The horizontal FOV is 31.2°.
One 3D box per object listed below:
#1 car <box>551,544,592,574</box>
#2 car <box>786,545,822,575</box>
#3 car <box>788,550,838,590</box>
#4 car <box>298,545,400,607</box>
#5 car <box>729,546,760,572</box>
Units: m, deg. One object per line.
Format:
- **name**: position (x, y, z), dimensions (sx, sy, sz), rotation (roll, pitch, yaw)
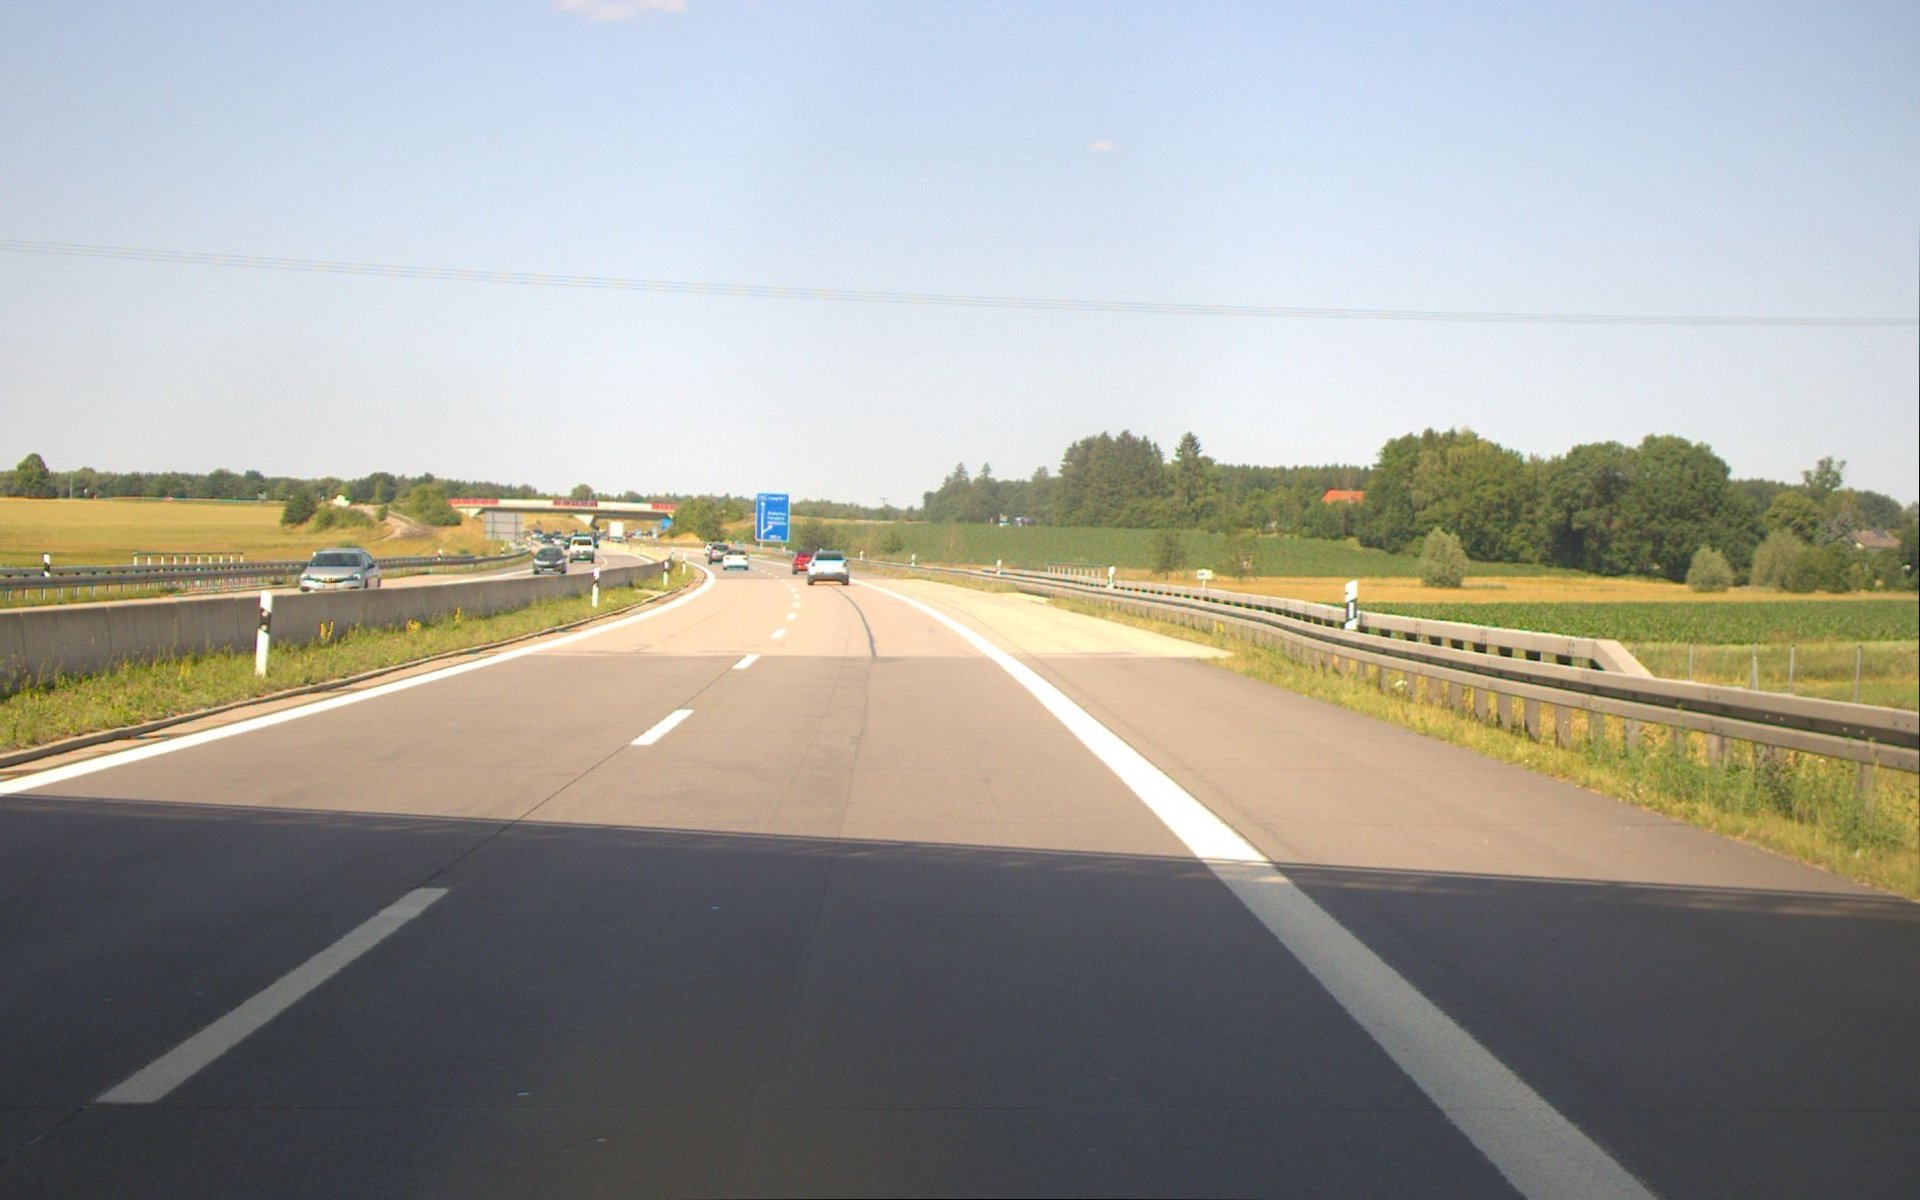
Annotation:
- **car**: position (-21.025, -2.212, 186.167), dimensions (1.859, 1.509, 4.586), rotation (2, 1, -2)
- **car**: position (-9.464, -2.414, 208.395), dimensions (1.993, 1.725, 4.870), rotation (1, 1, -4)
- **car**: position (-6.739, -1.392, 157.167), dimensions (1.993, 1.725, 4.870), rotation (1, 1, -6)
- **car**: position (-16.721, -0.656, 94.360), dimensions (1.993, 1.573, 4.897), rotation (2, 0, -1)
- **car**: position (-14.822, -2.852, 236.543), dimensions (1.993, 1.725, 4.870), rotation (1, 1, -2)
